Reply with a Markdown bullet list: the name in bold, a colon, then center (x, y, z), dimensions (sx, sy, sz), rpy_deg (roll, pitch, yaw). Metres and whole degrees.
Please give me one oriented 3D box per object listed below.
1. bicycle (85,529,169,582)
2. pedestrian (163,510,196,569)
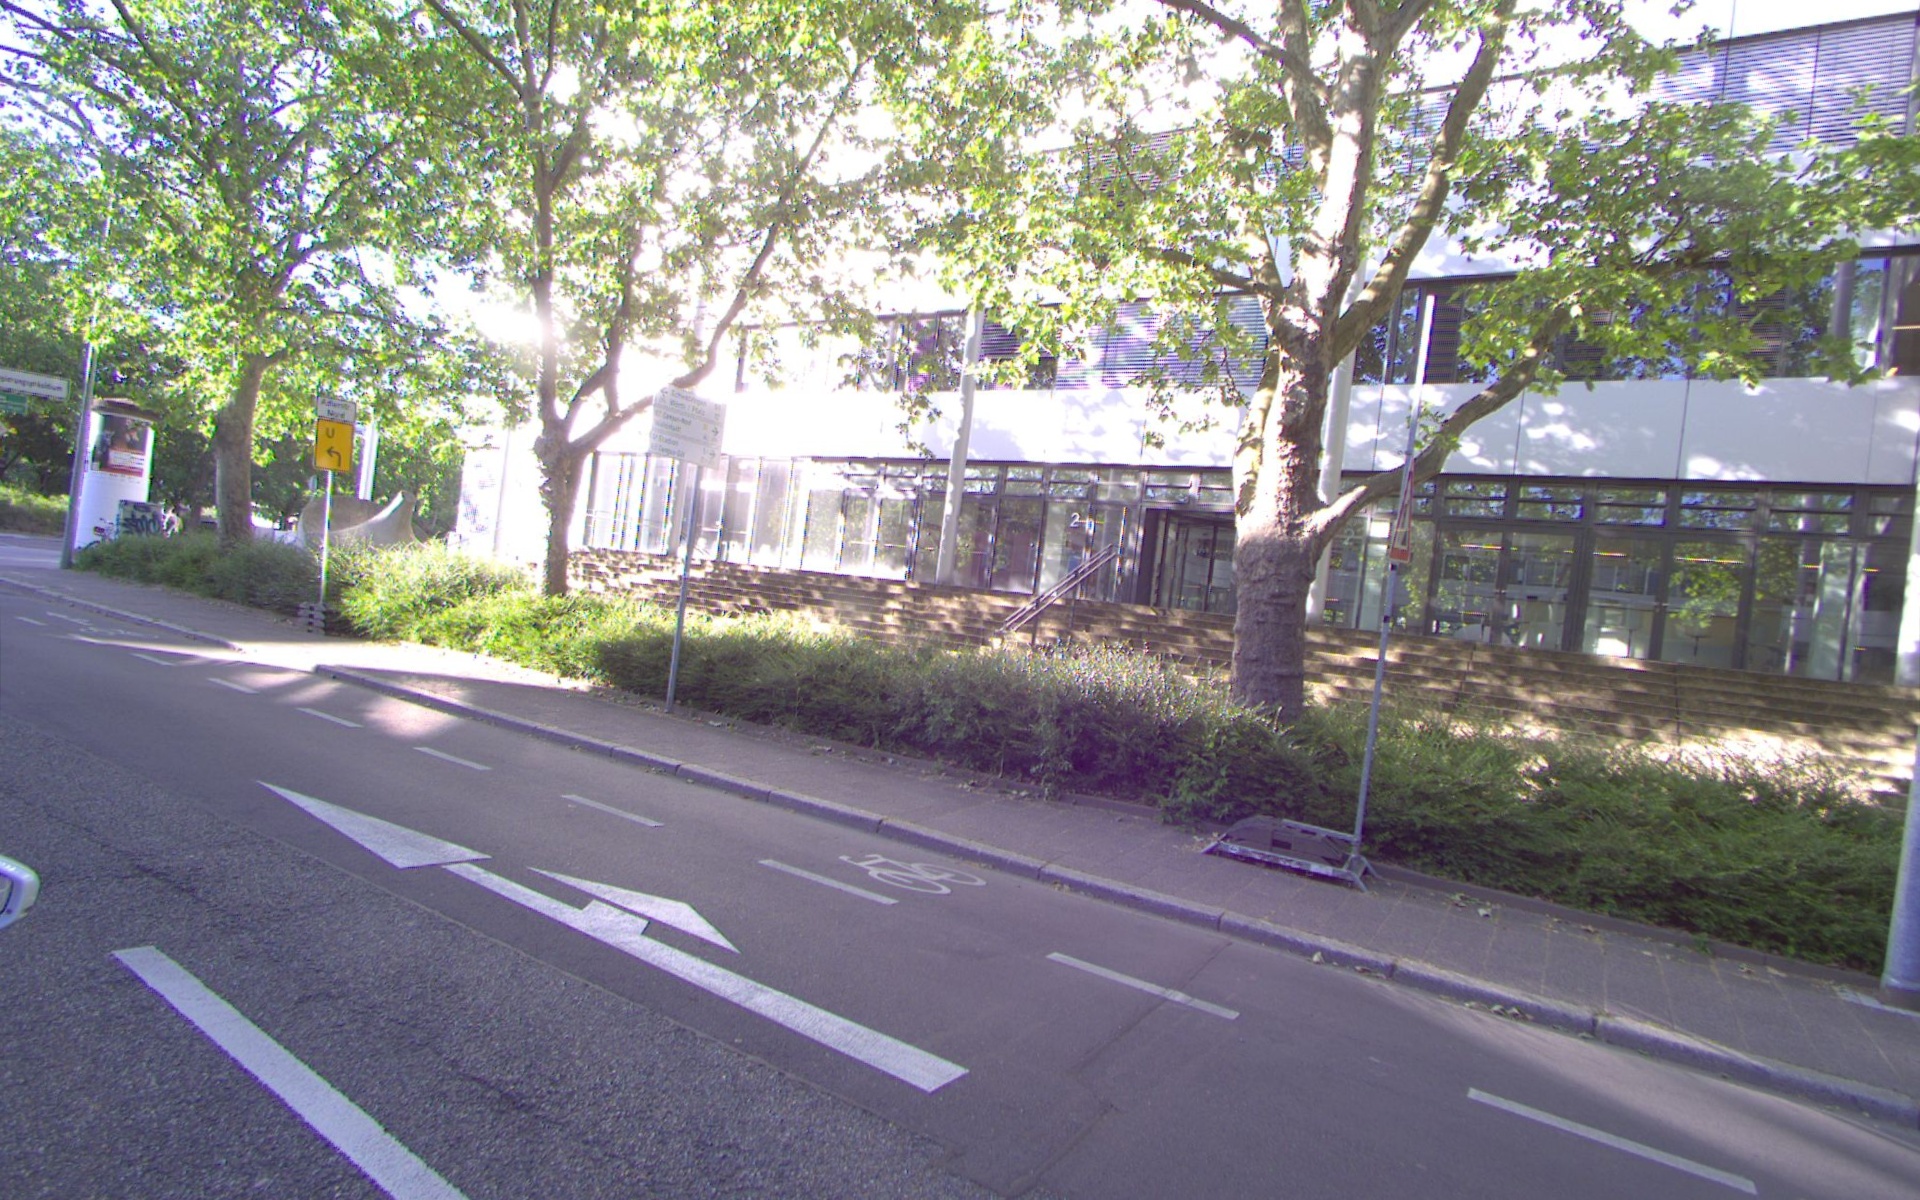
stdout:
- **bicycle**: center (-19.230, -1.010, 23.247), dimensions (0.357, 1.036, 1.354), rpy_deg (7, -1, 33)
- **pedestrian**: center (-25.770, -1.996, 33.220), dimensions (0.584, 1.871, 0.552), rpy_deg (7, 0, 33)
